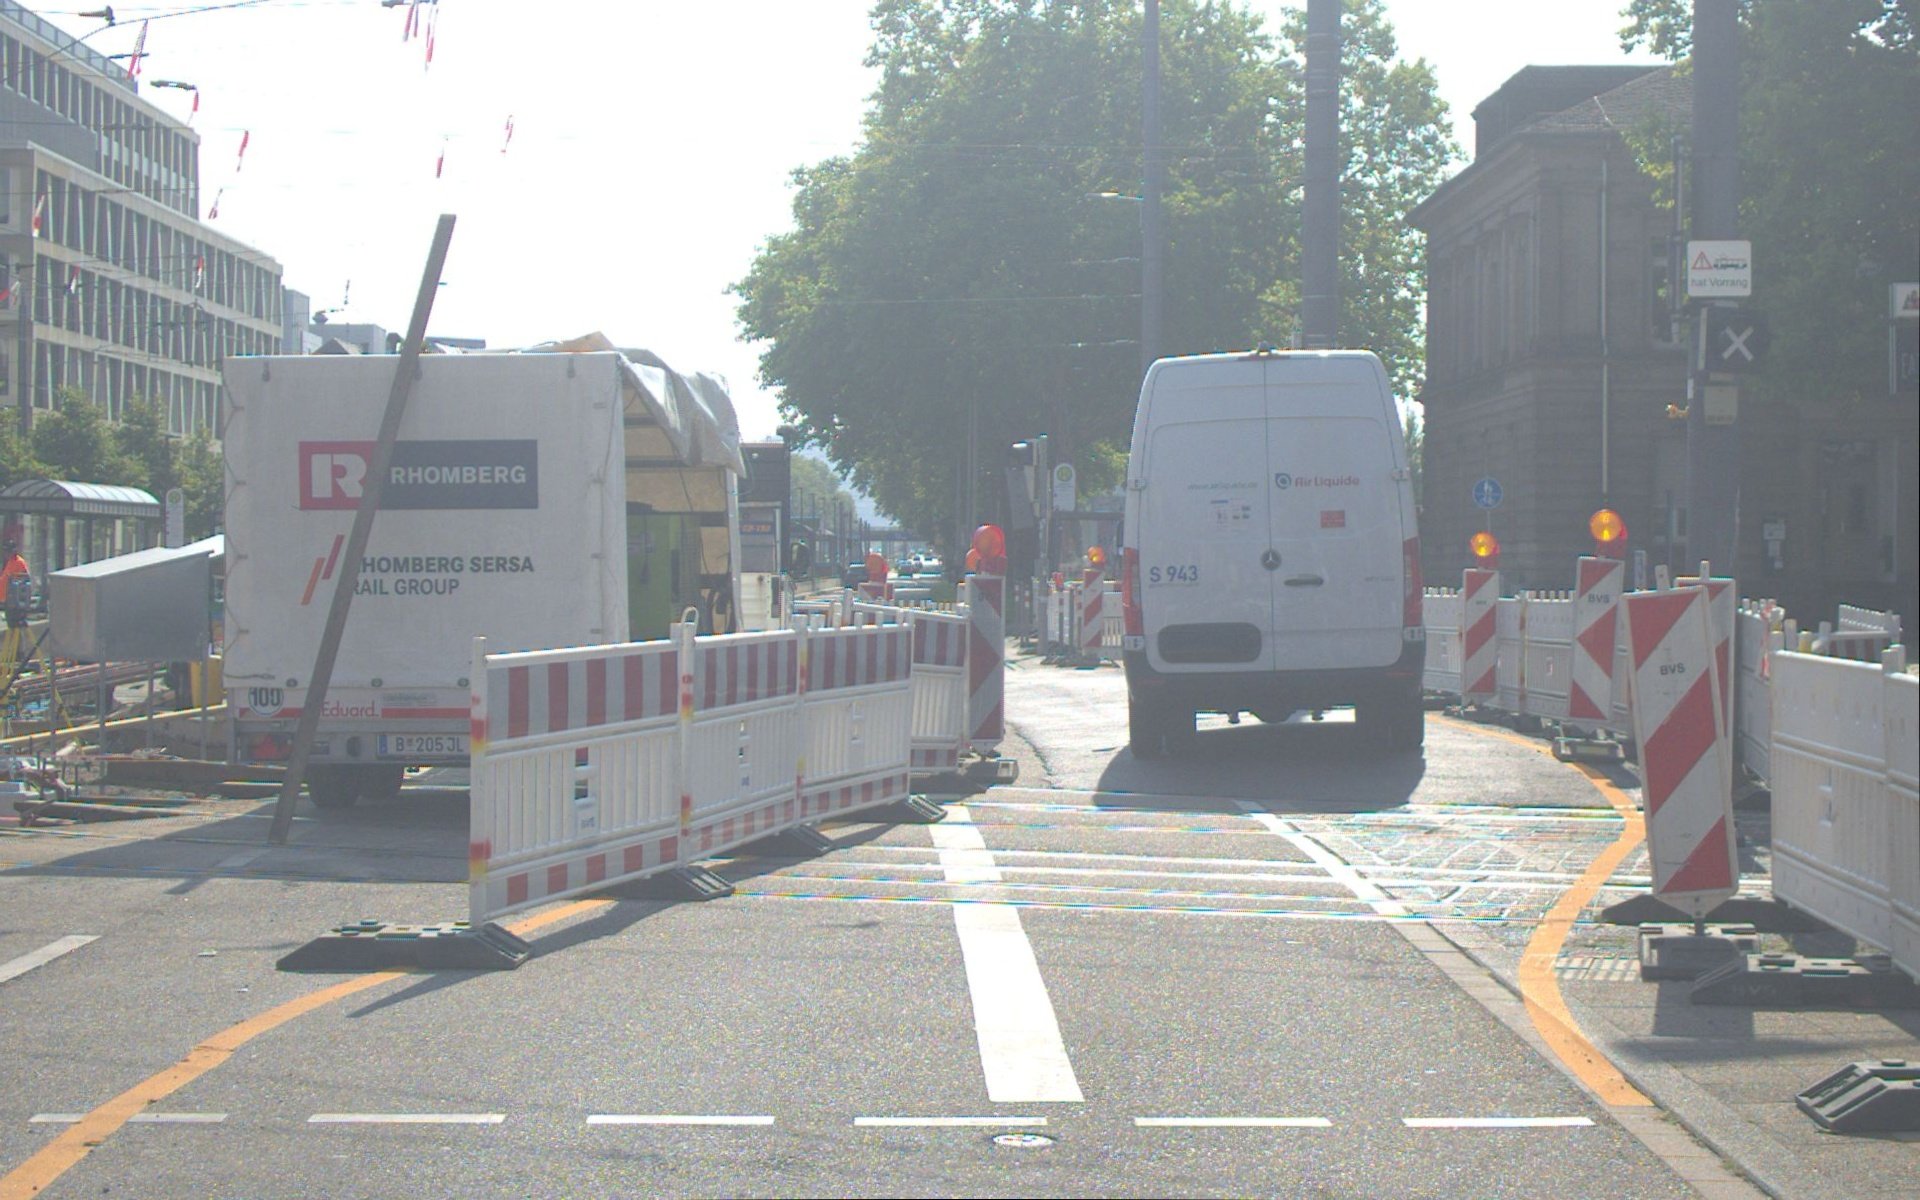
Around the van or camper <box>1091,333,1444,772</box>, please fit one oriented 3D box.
[{"bbox_3d":[2.086,-0.353,24.125,2.116,2.673,5.250,-2,1,4],"label":"van or camper"}]

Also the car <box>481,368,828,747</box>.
[{"bbox_3d":[-2.154,-0.297,25.618,2.207,2.416,7.200,0,0,-3],"label":"car"}]

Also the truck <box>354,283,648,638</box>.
[{"bbox_3d":[-5.872,-1.653,42.760,2.791,3.899,8.421,1,1,-13],"label":"truck"}]
